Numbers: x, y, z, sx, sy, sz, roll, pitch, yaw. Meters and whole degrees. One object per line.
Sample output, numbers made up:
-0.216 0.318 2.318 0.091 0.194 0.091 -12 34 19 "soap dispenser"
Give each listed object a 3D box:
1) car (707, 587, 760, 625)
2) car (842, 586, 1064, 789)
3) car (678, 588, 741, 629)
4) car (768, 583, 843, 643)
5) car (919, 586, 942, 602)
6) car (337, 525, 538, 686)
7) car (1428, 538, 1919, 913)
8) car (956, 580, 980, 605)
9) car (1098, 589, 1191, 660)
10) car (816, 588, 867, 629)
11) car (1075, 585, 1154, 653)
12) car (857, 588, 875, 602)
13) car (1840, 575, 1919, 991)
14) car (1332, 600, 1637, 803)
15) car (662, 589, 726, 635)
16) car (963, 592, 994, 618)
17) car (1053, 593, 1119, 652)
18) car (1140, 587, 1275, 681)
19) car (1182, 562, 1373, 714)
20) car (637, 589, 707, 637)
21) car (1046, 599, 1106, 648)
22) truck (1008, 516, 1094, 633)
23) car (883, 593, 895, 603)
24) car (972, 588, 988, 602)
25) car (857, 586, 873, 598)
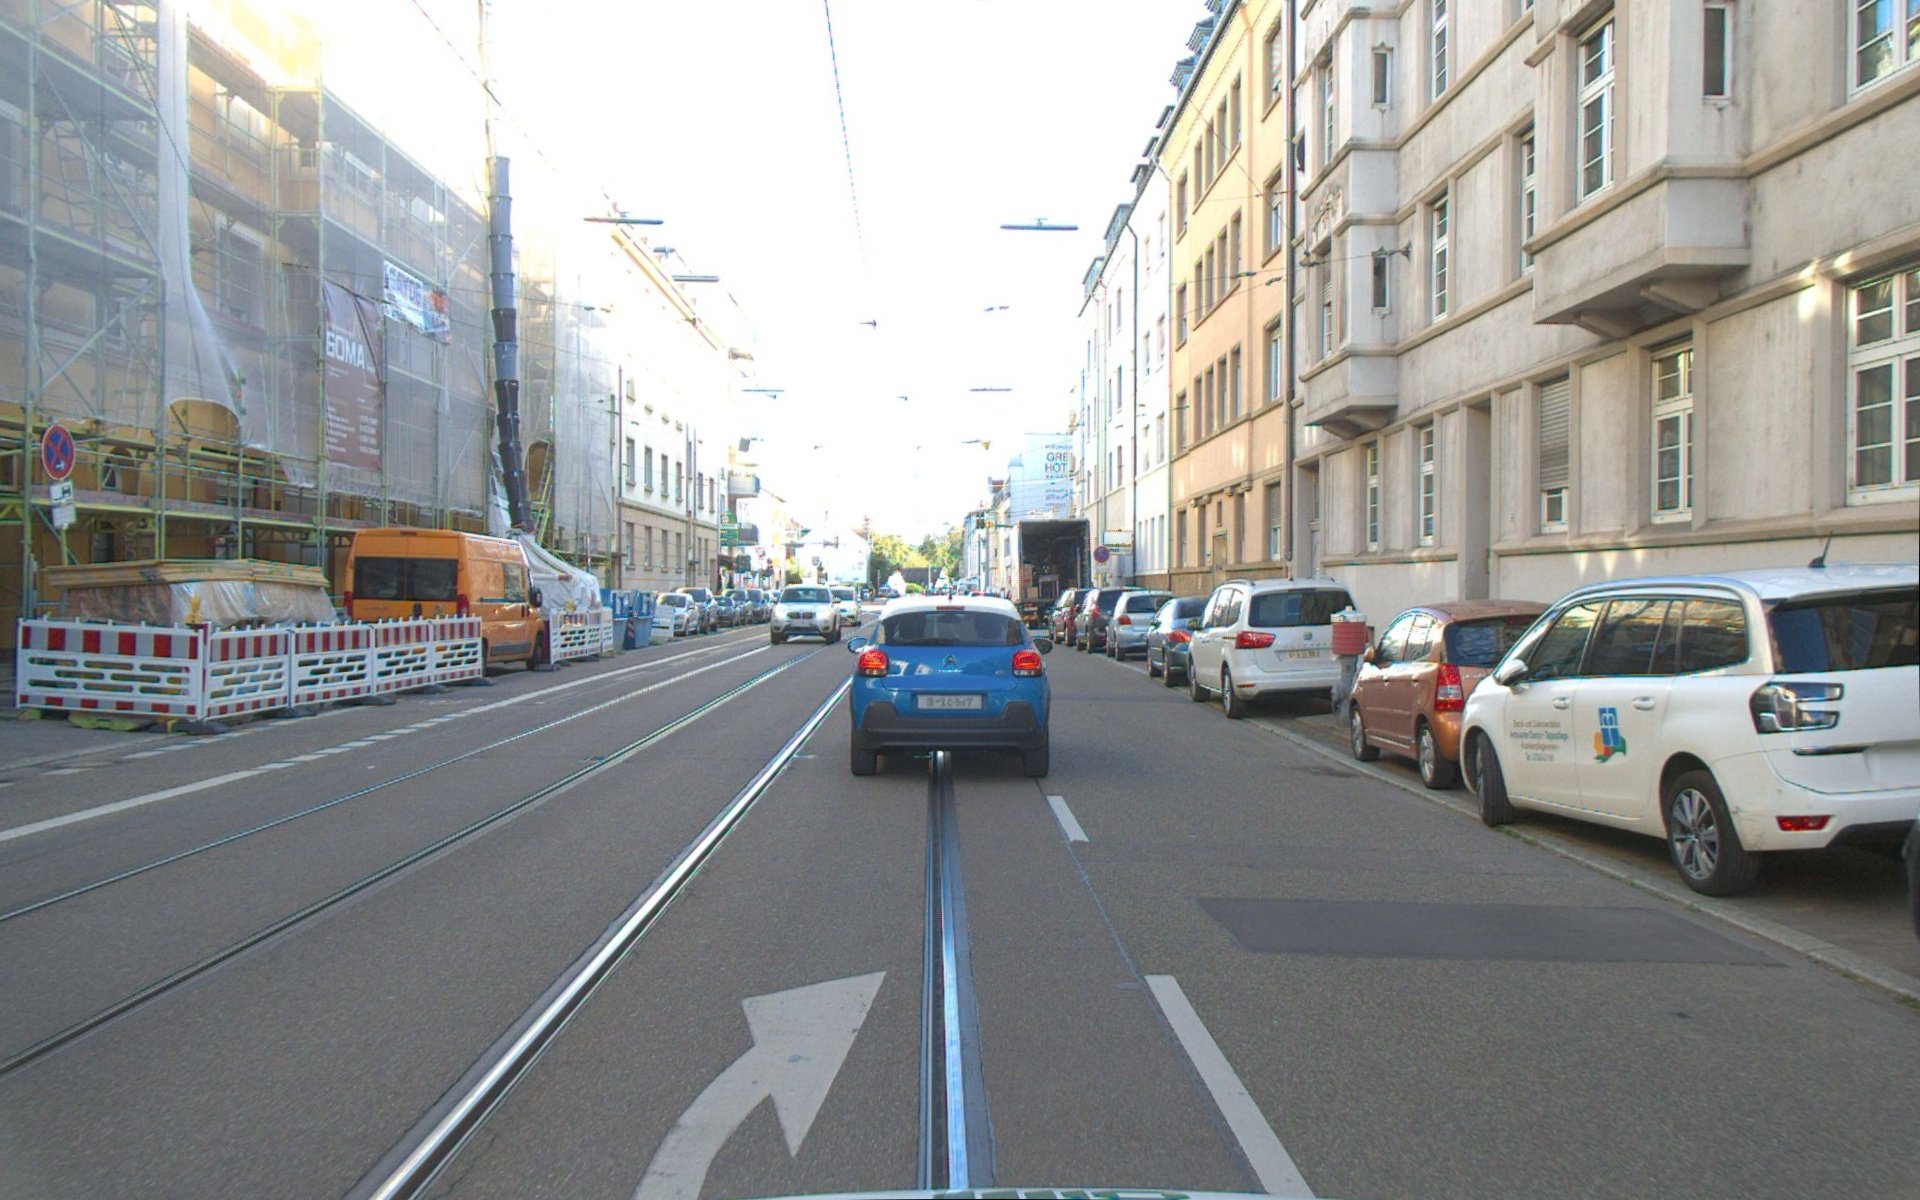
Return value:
-10.207 0.265 74.838 1.788 1.660 4.848 0 0 -1 "car"
-0.075 0.678 15.059 1.700 1.533 3.992 2 0 -1 "car"
-10.413 0.328 69.060 2.101 1.650 3.999 0 0 -1 "car"
-4.459 0.357 48.359 1.788 1.660 4.490 0 0 -1 "car"
-2.793 -0.546 156.611 2.136 1.512 4.159 0 0 -1 "car"
-8.875 0.072 28.586 2.101 2.519 4.977 0 0 -3 "car"
4.530 0.590 10.247 1.622 1.782 4.598 0 0 -5 "car"
0.727 -0.718 156.519 2.174 2.324 4.083 0 0 -1 "car"
4.193 0.519 38.035 1.630 1.546 4.221 0 0 -1 "car"
-4.953 0.323 69.473 1.863 1.660 4.266 0 0 -1 "car"
3.960 0.458 42.876 1.630 1.676 4.221 0 0 -1 "car"
-10.309 -0.587 181.522 1.729 1.513 4.031 0 0 -1 "car"
4.503 0.708 4.756 1.621 1.594 4.338 0 0 -1 "car"
4.561 0.806 14.901 1.581 1.588 3.600 0 0 -1 "car"
-9.689 0.406 60.582 1.679 1.622 4.266 0 0 -1 "car"
1.087 0.267 97.706 1.729 1.513 4.031 0 0 -1 "car"
3.679 0.638 48.891 1.630 1.661 3.870 0 0 -1 "car"
4.223 0.546 28.785 1.687 1.513 4.221 0 0 -1 "car"
4.224 0.459 22.723 1.695 1.859 4.686 0 0 -1 "car"
-9.746 0.416 56.198 1.679 1.544 4.047 0 0 -1 "car"
3.703 0.725 53.371 1.630 1.513 4.031 0 0 -1 "car"
3.385 -0.916 64.404 2.794 4.154 11.271 0 0 0 "truck"
-10.927 -0.350 254.648 1.729 1.513 4.031 0 0 -1 "car"
2.216 -0.587 185.759 1.729 1.513 4.031 0 0 -1 "car"
-12.033 -0.986 209.575 1.729 1.513 4.031 0 0 -1 "car"
